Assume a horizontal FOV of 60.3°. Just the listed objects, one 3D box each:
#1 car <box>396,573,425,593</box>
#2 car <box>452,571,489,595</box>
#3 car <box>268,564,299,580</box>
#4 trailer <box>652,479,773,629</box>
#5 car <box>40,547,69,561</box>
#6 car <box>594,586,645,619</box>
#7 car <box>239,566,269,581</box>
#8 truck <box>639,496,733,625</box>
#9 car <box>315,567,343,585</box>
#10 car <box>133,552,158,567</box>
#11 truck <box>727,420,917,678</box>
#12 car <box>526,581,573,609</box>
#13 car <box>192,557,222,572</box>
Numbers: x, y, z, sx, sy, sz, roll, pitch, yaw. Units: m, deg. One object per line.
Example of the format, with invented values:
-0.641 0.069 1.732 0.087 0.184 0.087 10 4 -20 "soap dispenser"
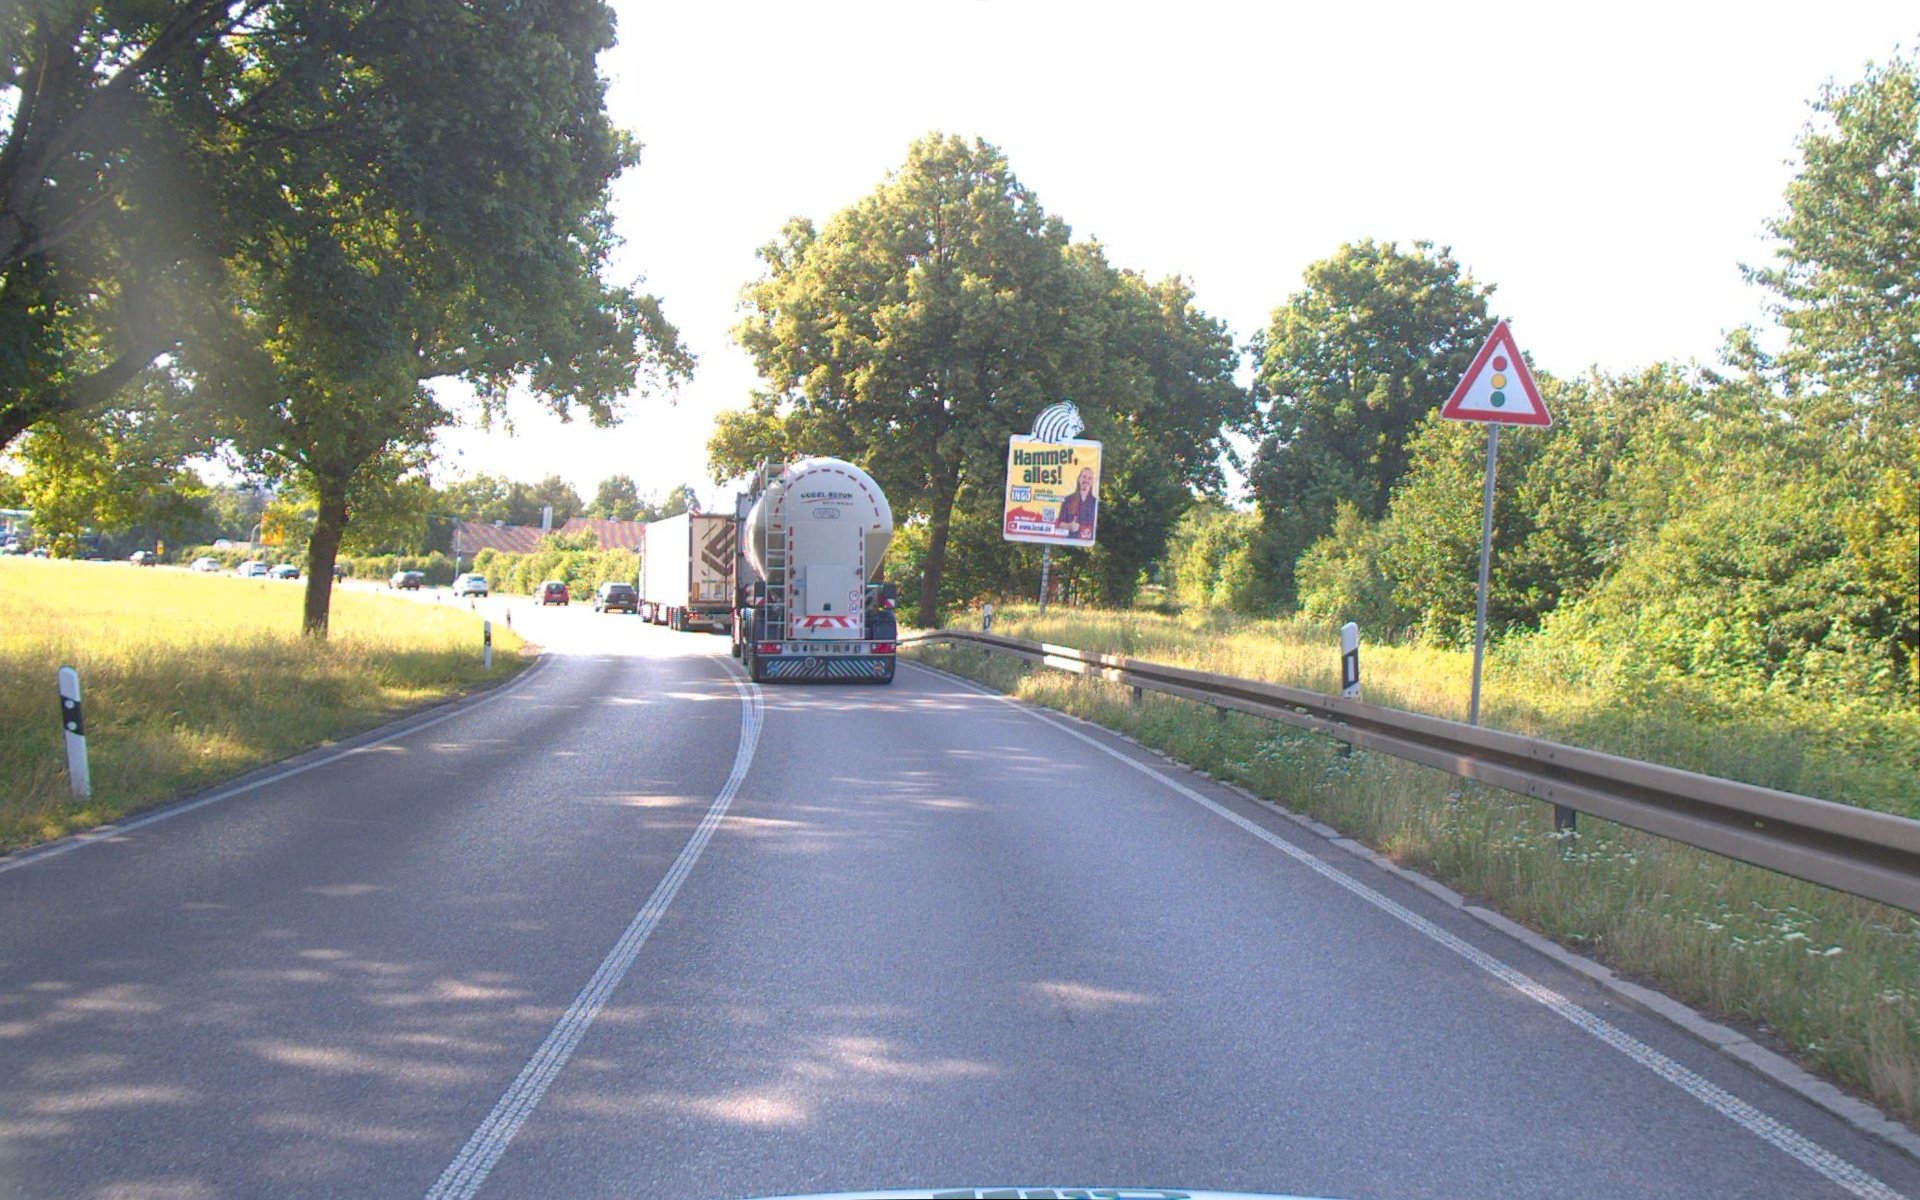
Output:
-47.669 -1.430 143.409 1.505 1.685 3.828 1 0 -33 "car"
-36.718 -1.251 123.978 1.821 1.685 3.961 1 0 -29 "car"
-69.421 -2.903 169.717 1.671 1.586 3.811 1 0 -43 "car"
-9.225 -1.541 60.643 2.917 4.967 10.240 1 0 -17 "trailer"
-116.893 -5.937 213.563 3.929 1.627 2.079 2 1 42 "car"
-18.073 0.128 87.765 1.966 1.685 3.973 1 0 -22 "car"
-75.765 -2.869 177.474 1.671 1.586 3.811 1 0 -43 "car"
-11.291 -1.520 67.718 2.915 4.972 6.400 1 0 -17 "truck"
-61.349 -2.330 160.790 1.509 1.685 3.818 1 0 -39 "car"
-98.033 -4.875 198.959 1.718 1.685 3.812 1 0 -42 "car"
-3.101 -0.832 33.391 2.921 4.248 11.637 1 0 -9 "truck"
-25.827 -0.310 103.992 2.268 1.685 4.385 1 0 -22 "car"
-84.903 -3.989 186.437 1.967 1.685 3.810 1 0 -43 "car"
